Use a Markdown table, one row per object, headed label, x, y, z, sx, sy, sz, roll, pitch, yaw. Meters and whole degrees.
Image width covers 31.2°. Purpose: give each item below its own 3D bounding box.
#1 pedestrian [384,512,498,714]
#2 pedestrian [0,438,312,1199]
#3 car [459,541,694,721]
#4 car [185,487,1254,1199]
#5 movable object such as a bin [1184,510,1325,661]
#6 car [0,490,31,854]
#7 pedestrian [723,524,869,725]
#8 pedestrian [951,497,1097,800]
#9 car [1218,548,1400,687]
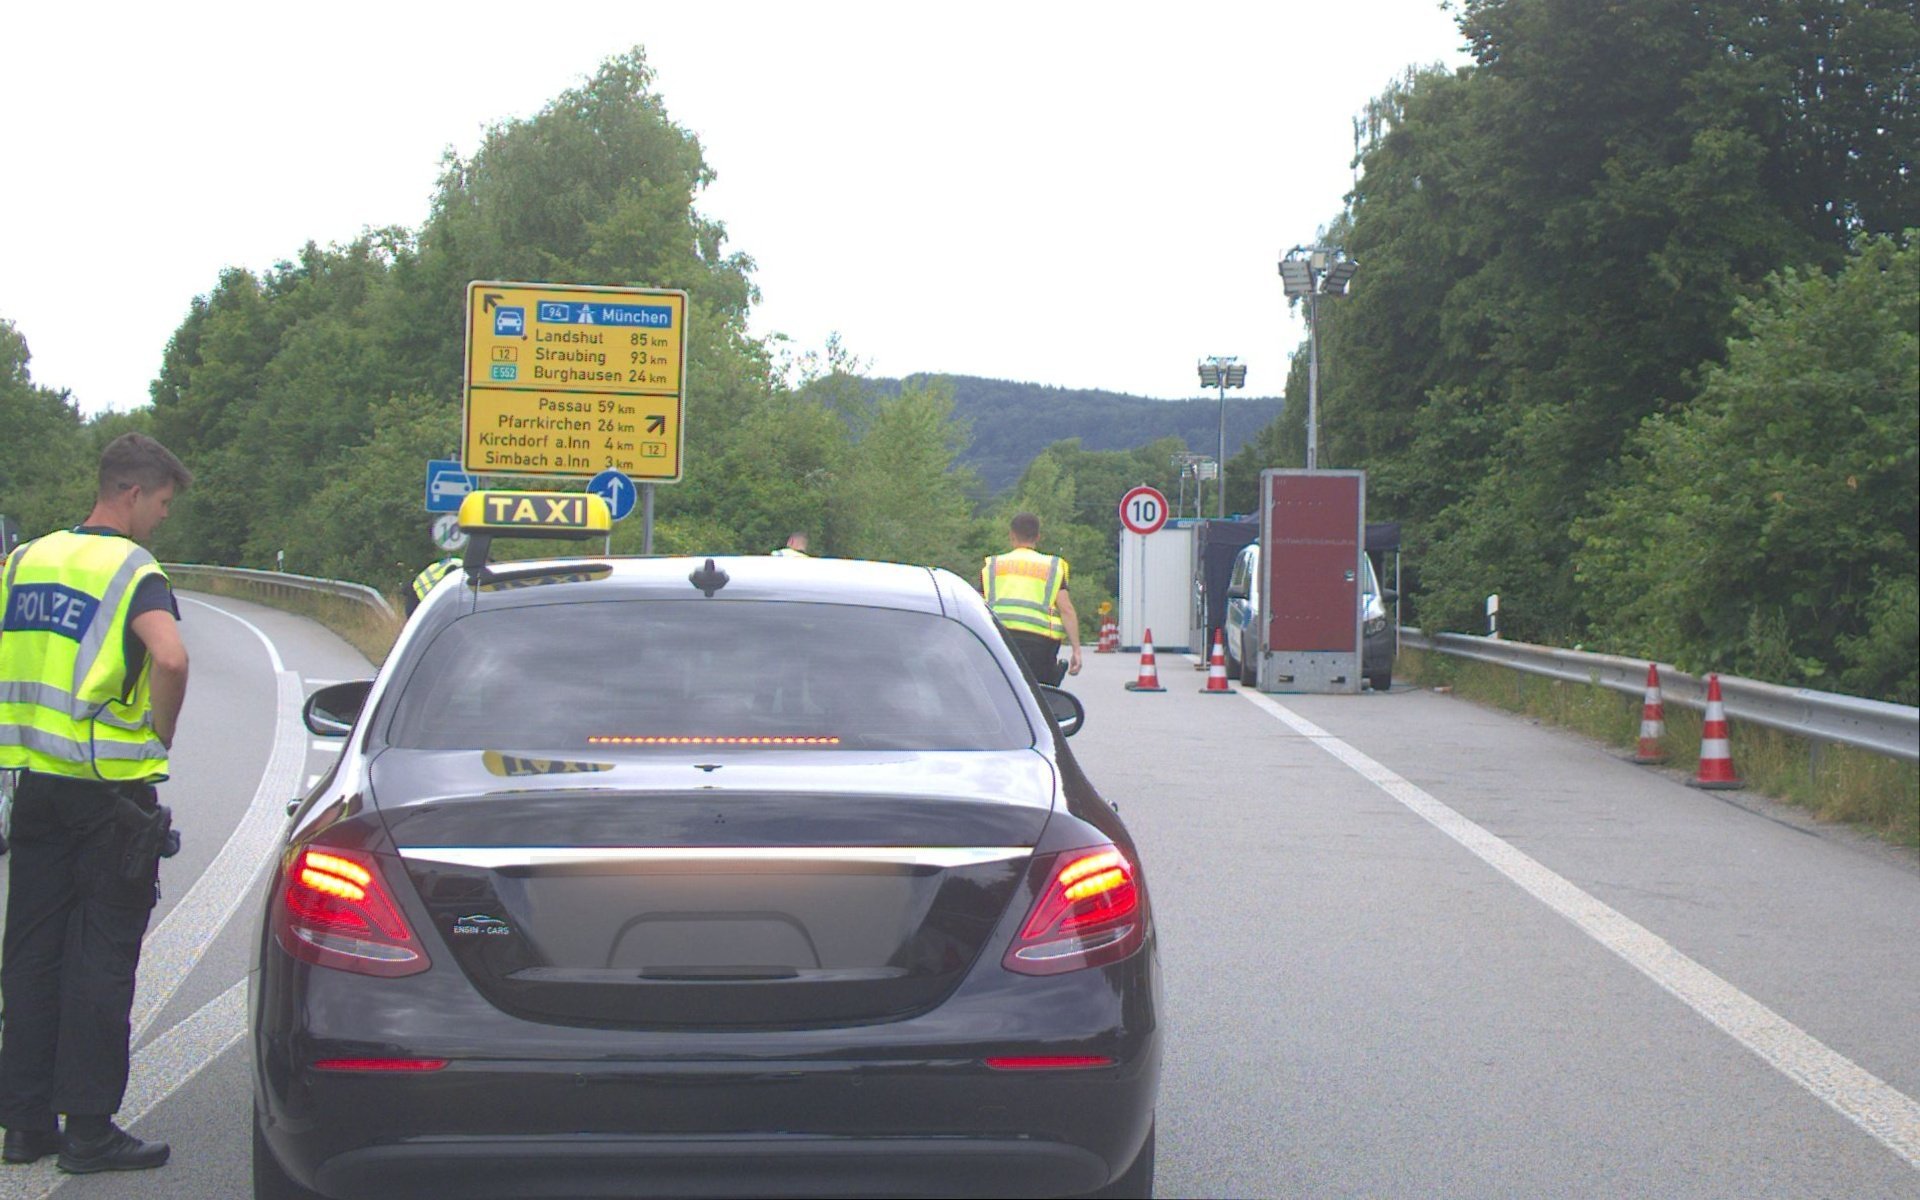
| label | x | y | z | sx | sy | sz | roll | pitch | yaw |
| --- | --- | --- | --- | --- | --- | --- | --- | --- | --- |
| pedestrian | -4.612 | 0.111 | 30.618 | 0.910 | 1.763 | 0.912 | 1 | 1 | -3 |
| pedestrian | -2.078 | 0.496 | 8.020 | 0.761 | 1.712 | 0.816 | 1 | 1 | 37 |
| car | -3.359 | 0.224 | 30.772 | 1.855 | 1.493 | 4.257 | 0 | 1 | -3 |
| car | -0.609 | 0.569 | 8.189 | 1.855 | 1.589 | 4.376 | 0 | 1 | -5 |
| movable object such as a bin | 4.634 | -0.254 | 54.625 | 1.993 | 2.272 | 4.168 | 1 | 1 | 2 |
| car | -5.405 | 0.361 | 15.050 | 1.868 | 1.737 | 4.009 | 0 | 1 | -4 |
| pedestrian | -1.412 | 0.198 | 29.558 | 0.908 | 1.692 | 0.914 | 0 | 0 | -32 |
| pedestrian | 0.400 | 0.287 | 21.154 | 0.812 | 1.824 | 0.809 | 0 | 1 | 8 |
| car | 4.575 | 0.178 | 45.787 | 1.916 | 1.672 | 5.083 | 2 | 1 | 1 |
